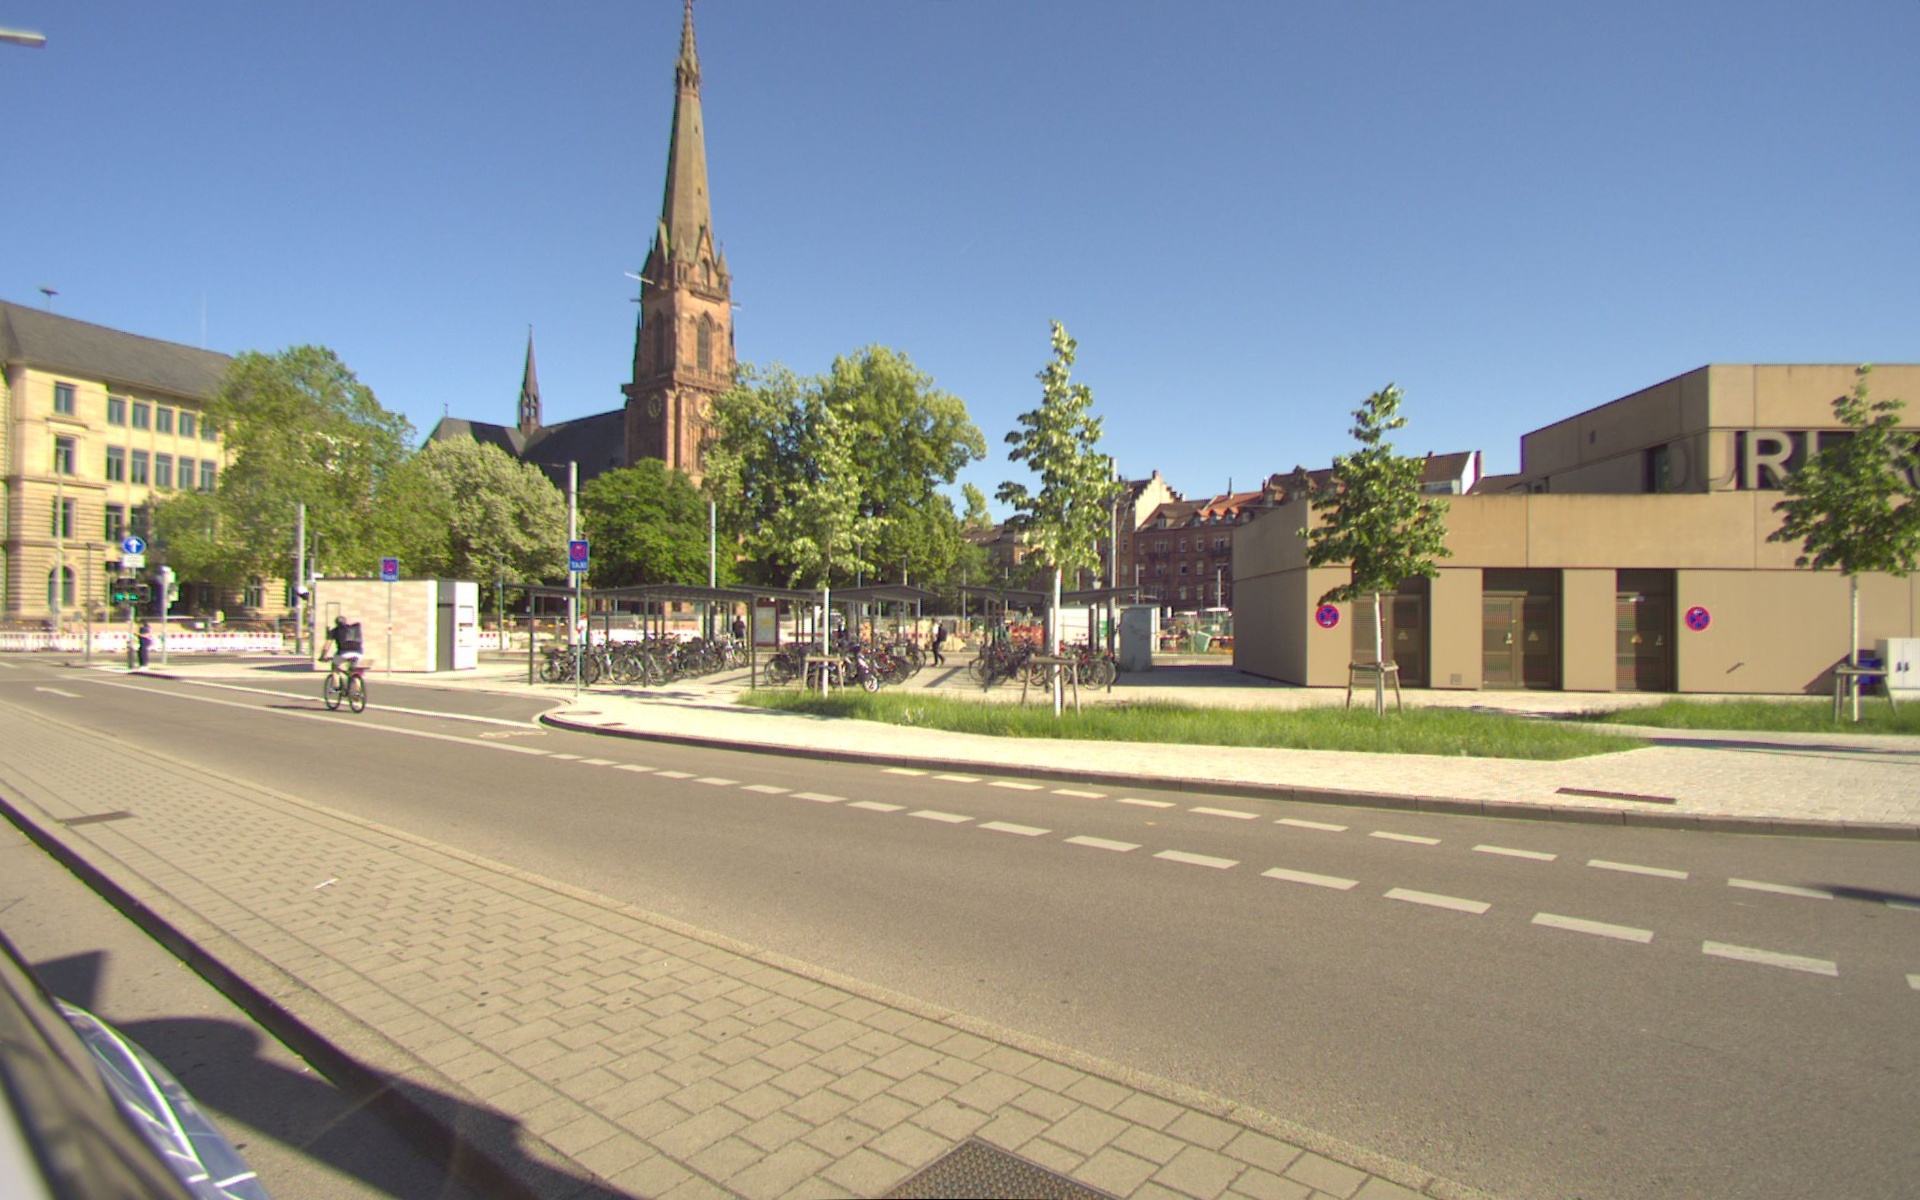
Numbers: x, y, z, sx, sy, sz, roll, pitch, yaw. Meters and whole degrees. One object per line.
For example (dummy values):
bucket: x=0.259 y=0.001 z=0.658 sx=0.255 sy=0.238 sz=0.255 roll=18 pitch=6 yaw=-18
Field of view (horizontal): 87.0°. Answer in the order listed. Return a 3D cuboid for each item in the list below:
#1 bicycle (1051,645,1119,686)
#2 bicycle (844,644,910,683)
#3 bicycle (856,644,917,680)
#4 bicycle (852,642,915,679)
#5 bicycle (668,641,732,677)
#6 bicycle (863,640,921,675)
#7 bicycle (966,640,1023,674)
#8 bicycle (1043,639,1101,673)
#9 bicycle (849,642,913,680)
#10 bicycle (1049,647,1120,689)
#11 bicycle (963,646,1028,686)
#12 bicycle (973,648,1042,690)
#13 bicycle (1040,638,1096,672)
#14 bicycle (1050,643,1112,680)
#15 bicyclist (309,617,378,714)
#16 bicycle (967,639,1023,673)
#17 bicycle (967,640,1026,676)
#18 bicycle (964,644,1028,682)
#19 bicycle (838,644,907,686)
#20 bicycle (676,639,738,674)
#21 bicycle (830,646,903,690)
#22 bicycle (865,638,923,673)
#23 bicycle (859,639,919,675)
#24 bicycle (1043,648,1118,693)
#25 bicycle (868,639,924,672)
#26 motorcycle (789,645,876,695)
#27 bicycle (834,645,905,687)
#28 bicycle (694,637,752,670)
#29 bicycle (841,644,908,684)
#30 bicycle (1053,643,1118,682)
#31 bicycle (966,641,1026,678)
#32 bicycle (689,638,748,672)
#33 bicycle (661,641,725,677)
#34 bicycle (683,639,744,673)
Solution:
bicycle: x=3.356 y=1.750 z=27.076 sx=1.768 sy=1.046 sz=0.566 roll=0 pitch=-3 yaw=10
bicycle: x=-2.297 y=1.771 z=28.196 sx=1.764 sy=1.046 sz=0.567 roll=1 pitch=-2 yaw=3
bicycle: x=-2.187 y=1.851 z=30.312 sx=1.764 sy=1.046 sz=0.567 roll=1 pitch=-2 yaw=3
bicycle: x=-2.222 y=1.762 z=29.597 sx=1.764 sy=1.046 sz=0.567 roll=1 pitch=-2 yaw=3
bicycle: x=-7.917 y=1.791 z=30.827 sx=1.764 sy=1.046 sz=0.567 roll=1 pitch=-2 yaw=3
bicycle: x=-2.128 y=1.793 z=31.683 sx=1.764 sy=1.046 sz=0.567 roll=1 pitch=-2 yaw=3
bicycle: x=1.086 y=1.779 z=31.667 sx=1.764 sy=1.046 sz=0.567 roll=1 pitch=-2 yaw=3
bicycle: x=3.551 y=1.779 z=32.109 sx=1.764 sy=1.046 sz=0.567 roll=1 pitch=-2 yaw=3
bicycle: x=-2.251 y=1.745 z=28.886 sx=1.764 sy=1.046 sz=0.567 roll=1 pitch=-2 yaw=3
bicycle: x=3.173 y=1.732 z=25.906 sx=1.764 sy=1.046 sz=0.567 roll=1 pitch=-2 yaw=3
bicycle: x=0.966 y=1.782 z=27.606 sx=1.764 sy=1.046 sz=0.567 roll=1 pitch=-2 yaw=3
bicycle: x=1.232 y=1.775 z=26.319 sx=1.764 sy=1.046 sz=0.567 roll=1 pitch=-2 yaw=3
bicycle: x=3.482 y=1.775 z=32.823 sx=1.764 sy=1.046 sz=0.567 roll=1 pitch=-2 yaw=3
bicycle: x=3.554 y=1.795 z=29.821 sx=1.764 sy=1.046 sz=0.567 roll=1 pitch=-2 yaw=3
bicyclist: x=-10.786 y=1.122 z=17.696 sx=0.977 sy=1.633 sz=0.712 roll=-1 pitch=-3 yaw=40
bicycle: x=1.107 y=1.769 z=32.288 sx=1.764 sy=1.046 sz=0.567 roll=1 pitch=-2 yaw=3
bicycle: x=1.123 y=1.770 z=30.874 sx=1.764 sy=1.046 sz=0.567 roll=1 pitch=-2 yaw=3
bicycle: x=1.021 y=1.773 z=28.604 sx=1.764 sy=1.046 sz=0.567 roll=1 pitch=-2 yaw=3
bicycle: x=-2.312 y=1.715 z=26.816 sx=1.764 sy=1.046 sz=0.567 roll=1 pitch=-2 yaw=3
bicycle: x=-7.874 y=1.762 z=31.491 sx=1.764 sy=1.046 sz=0.567 roll=1 pitch=-2 yaw=3
bicycle: x=-2.355 y=1.708 z=25.548 sx=1.764 sy=1.046 sz=0.567 roll=1 pitch=-2 yaw=3
bicycle: x=-2.097 y=1.768 z=32.318 sx=1.764 sy=1.046 sz=0.567 roll=1 pitch=-2 yaw=3
bicycle: x=-2.165 y=1.751 z=31.082 sx=1.764 sy=1.046 sz=0.567 roll=1 pitch=-2 yaw=3
bicycle: x=2.965 y=1.735 z=24.967 sx=1.764 sy=1.046 sz=0.567 roll=1 pitch=-2 yaw=3
bicycle: x=-2.080 y=1.803 z=32.955 sx=1.764 sy=1.046 sz=0.567 roll=1 pitch=-2 yaw=3
motorcycle: x=-3.005 y=1.643 z=23.935 sx=1.961 sy=1.127 sz=0.594 roll=0 pitch=-1 yaw=7
bicycle: x=-2.325 y=1.700 z=26.213 sx=1.764 sy=1.046 sz=0.567 roll=1 pitch=-2 yaw=3
bicycle: x=-7.831 y=1.771 z=33.416 sx=1.764 sy=1.046 sz=0.567 roll=1 pitch=-2 yaw=3
bicycle: x=-2.316 y=1.739 z=27.560 sx=1.764 sy=1.046 sz=0.567 roll=1 pitch=-2 yaw=3
bicycle: x=3.532 y=1.757 z=28.536 sx=1.764 sy=1.046 sz=0.567 roll=1 pitch=-2 yaw=3
bicycle: x=1.076 y=1.761 z=30.155 sx=1.764 sy=1.046 sz=0.567 roll=1 pitch=-2 yaw=3
bicycle: x=-7.811 y=1.770 z=32.785 sx=1.764 sy=1.046 sz=0.567 roll=1 pitch=-2 yaw=3
bicycle: x=-7.967 y=1.752 z=30.227 sx=1.764 sy=1.046 sz=0.567 roll=1 pitch=-2 yaw=3
bicycle: x=-7.823 y=1.775 z=32.157 sx=1.764 sy=1.046 sz=0.567 roll=1 pitch=-2 yaw=3
